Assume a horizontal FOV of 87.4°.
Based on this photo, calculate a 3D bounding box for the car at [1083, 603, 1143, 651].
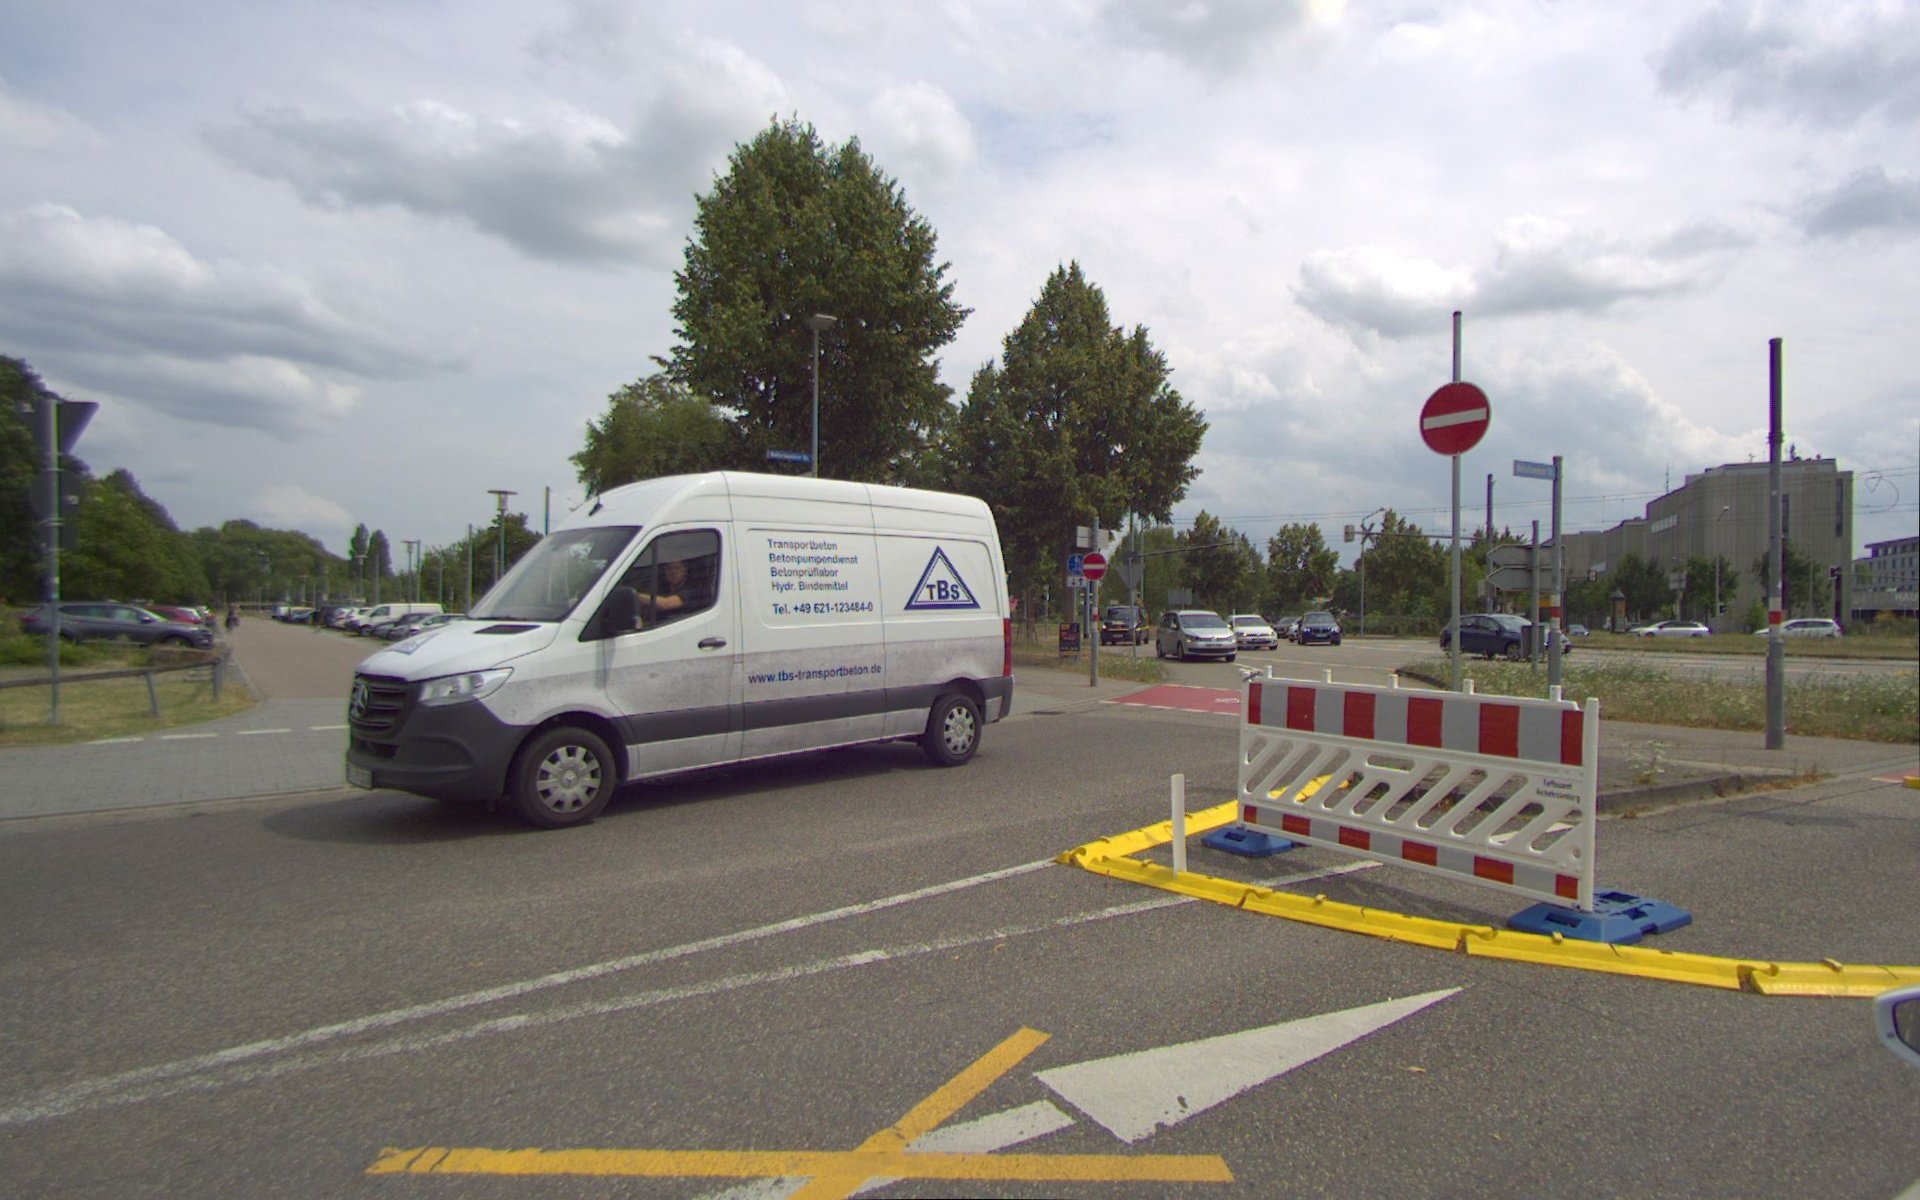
[{"bbox_3d":[7.717,1.330,51.031,1.961,2.303,5.158,1,-1,-3],"label":"car"}]

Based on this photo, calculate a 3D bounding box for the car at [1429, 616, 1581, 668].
[{"bbox_3d":[17.461,1.297,32.398,1.776,1.517,4.093,1,-1,-24],"label":"car"}]

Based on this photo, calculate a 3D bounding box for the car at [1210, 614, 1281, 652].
[{"bbox_3d":[12.043,1.346,42.657,1.766,1.517,4.260,1,-1,0],"label":"car"}]

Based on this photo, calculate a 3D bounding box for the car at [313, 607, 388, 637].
[{"bbox_3d":[-40.859,1.467,67.359,4.119,1.980,1.940,1,-1,-37],"label":"car"}]

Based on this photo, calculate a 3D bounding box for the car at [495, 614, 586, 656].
[{"bbox_3d":[-16.011,1.313,38.395,2.896,1.442,1.464,-1,0,-44],"label":"car"}]

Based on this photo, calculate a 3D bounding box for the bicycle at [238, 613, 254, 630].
[{"bbox_3d":[-53.368,1.591,75.061,0.773,1.191,2.203,1,-1,-41],"label":"bicycle"}]

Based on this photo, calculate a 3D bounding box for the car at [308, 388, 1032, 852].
[{"bbox_3d":[-1.976,0.177,8.813,2.041,2.721,5.940,0,-1,41],"label":"car"}]

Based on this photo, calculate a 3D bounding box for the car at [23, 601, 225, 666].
[{"bbox_3d":[-24.576,0.970,29.750,4.462,1.788,1.978,1,-1,-39],"label":"car"}]

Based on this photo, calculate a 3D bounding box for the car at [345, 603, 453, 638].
[{"bbox_3d":[-34.580,1.273,61.956,5.524,2.083,2.176,2,-1,-40],"label":"car"}]

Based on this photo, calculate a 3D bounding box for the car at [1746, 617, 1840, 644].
[{"bbox_3d":[54.142,1.971,65.386,4.268,1.688,1.939,1,-1,16],"label":"car"}]

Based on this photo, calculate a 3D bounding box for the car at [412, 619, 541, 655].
[{"bbox_3d":[-21.154,1.600,44.048,4.844,1.491,1.814,1,-1,-38],"label":"car"}]

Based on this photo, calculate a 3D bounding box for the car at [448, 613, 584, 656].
[{"bbox_3d":[-17.744,1.322,40.225,4.668,1.491,1.812,-1,1,-40],"label":"car"}]

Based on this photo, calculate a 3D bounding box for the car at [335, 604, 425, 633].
[{"bbox_3d":[-42.704,1.391,73.989,5.519,2.083,2.178,1,-1,-37],"label":"car"}]

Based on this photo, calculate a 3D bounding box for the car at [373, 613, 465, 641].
[{"bbox_3d":[-30.042,1.475,55.855,4.272,1.491,1.814,1,-1,-37],"label":"car"}]

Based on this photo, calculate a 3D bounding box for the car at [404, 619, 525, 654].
[{"bbox_3d":[-22.559,1.665,45.814,4.666,1.491,1.814,1,-1,-37],"label":"car"}]

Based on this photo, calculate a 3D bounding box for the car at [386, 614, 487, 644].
[{"bbox_3d":[-26.942,1.484,51.738,4.347,1.491,1.814,1,-1,-37],"label":"car"}]

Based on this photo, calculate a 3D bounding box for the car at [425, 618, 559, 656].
[{"bbox_3d":[-19.628,1.527,42.226,4.844,1.491,1.814,1,-1,-38],"label":"car"}]

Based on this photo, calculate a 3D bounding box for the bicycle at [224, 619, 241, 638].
[{"bbox_3d":[-42.672,1.650,58.944,0.595,1.060,1.815,1,-1,-30],"label":"bicycle"}]

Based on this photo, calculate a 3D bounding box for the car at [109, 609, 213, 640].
[{"bbox_3d":[-39.907,1.232,50.268,3.973,1.487,1.797,1,-1,-39],"label":"car"}]

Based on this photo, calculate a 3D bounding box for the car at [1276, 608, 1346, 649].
[{"bbox_3d":[17.008,1.342,48.897,1.756,1.884,4.252,1,-1,-2],"label":"car"}]

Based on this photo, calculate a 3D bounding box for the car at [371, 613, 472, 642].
[{"bbox_3d":[-28.743,1.478,53.668,4.562,1.491,1.814,1,-1,-37],"label":"car"}]

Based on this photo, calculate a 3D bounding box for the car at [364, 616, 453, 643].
[{"bbox_3d":[-31.731,1.692,57.836,4.272,1.491,1.814,1,-1,-37],"label":"car"}]

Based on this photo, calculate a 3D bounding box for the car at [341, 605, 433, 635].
[{"bbox_3d":[-41.131,1.439,72.172,5.519,2.083,2.178,1,-1,-37],"label":"car"}]

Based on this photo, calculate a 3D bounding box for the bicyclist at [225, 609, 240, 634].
[{"bbox_3d":[-42.602,1.237,58.816,0.595,1.442,0.797,1,-1,-30],"label":"bicyclist"}]

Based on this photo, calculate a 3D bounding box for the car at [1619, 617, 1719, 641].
[{"bbox_3d":[47.444,1.952,67.322,5.080,1.502,2.001,0,-1,17],"label":"car"}]

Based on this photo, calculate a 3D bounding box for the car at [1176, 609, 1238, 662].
[{"bbox_3d":[8.212,1.128,33.739,1.765,1.644,4.751,0,-1,11],"label":"car"}]

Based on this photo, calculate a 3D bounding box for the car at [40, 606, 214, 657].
[{"bbox_3d":[-27.992,1.058,33.984,4.366,1.619,1.979,1,-1,-37],"label":"car"}]

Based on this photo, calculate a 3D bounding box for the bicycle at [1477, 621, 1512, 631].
[{"bbox_3d":[47.229,2.289,88.786,2.605,0.866,0.865,0,-1,6],"label":"bicycle"}]
